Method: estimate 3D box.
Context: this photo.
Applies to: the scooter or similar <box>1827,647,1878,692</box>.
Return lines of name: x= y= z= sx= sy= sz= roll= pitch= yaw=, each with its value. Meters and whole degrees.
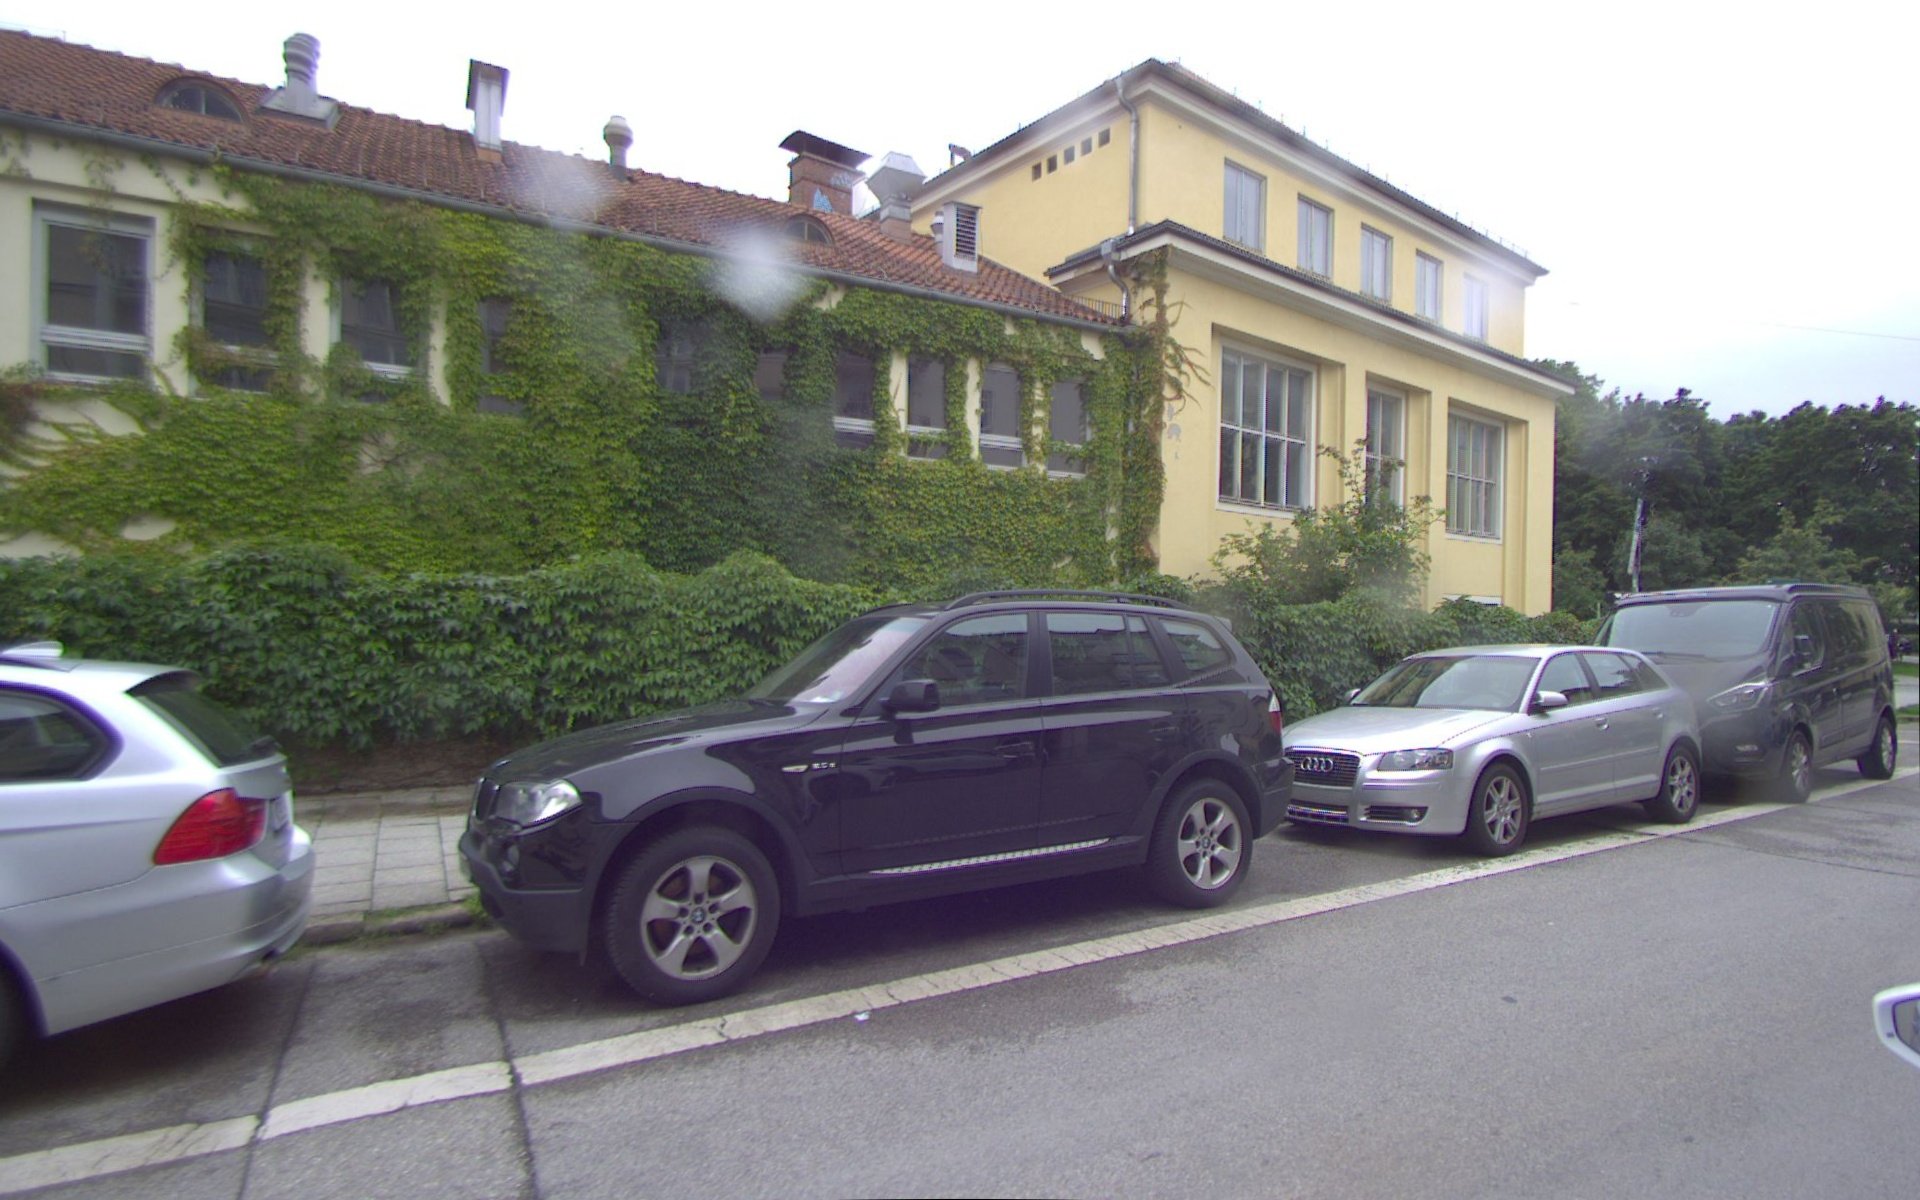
scooter or similar: x=24.673 y=1.929 z=27.776 sx=1.097 sy=1.204 sz=0.345 roll=1 pitch=0 yaw=0

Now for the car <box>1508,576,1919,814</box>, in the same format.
car: x=8.281 y=0.912 z=10.815 sx=5.296 sy=1.989 sz=2.060 roll=2 pitch=-3 yaw=-35

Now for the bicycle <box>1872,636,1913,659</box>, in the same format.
bicycle: x=53.238 y=2.708 z=57.390 sx=0.730 sy=1.231 sz=2.146 roll=1 pitch=-1 yaw=13

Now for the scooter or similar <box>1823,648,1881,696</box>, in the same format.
scooter or similar: x=24.139 y=1.932 z=27.187 sx=0.341 sy=1.204 sz=1.111 roll=1 pitch=0 yaw=-27

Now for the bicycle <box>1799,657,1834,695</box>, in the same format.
bicycle: x=23.402 y=2.064 z=27.464 sx=0.534 sy=0.987 sz=1.152 roll=1 pitch=-1 yaw=31

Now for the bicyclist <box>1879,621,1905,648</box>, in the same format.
bicyclist: x=53.242 y=1.977 z=57.380 sx=0.730 sy=1.541 sz=0.946 roll=1 pitch=-1 yaw=13

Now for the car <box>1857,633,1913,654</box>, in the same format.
car: x=67.384 y=3.144 z=73.208 sx=1.963 sy=1.390 sz=3.995 roll=1 pitch=-1 yaw=27

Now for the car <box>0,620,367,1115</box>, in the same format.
car: x=-4.511 y=0.788 z=2.915 sx=4.713 sy=1.432 sz=1.646 roll=1 pitch=-4 yaw=-29

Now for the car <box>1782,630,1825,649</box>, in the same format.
car: x=76.234 y=3.551 z=90.818 sx=1.962 sy=1.627 sz=3.997 roll=1 pitch=-1 yaw=25

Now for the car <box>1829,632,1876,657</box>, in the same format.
car: x=59.083 y=2.913 z=66.582 sx=1.889 sy=1.490 sz=3.986 roll=1 pitch=0 yaw=36

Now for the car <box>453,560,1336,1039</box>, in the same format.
car: x=-0.180 y=0.797 z=5.392 sx=4.438 sy=1.664 sz=1.689 roll=2 pitch=-4 yaw=-31

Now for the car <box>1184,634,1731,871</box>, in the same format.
car: x=4.018 y=1.024 z=7.910 sx=4.449 sy=1.411 sz=1.687 roll=1 pitch=-5 yaw=-31

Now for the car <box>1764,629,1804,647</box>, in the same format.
car: x=78.636 y=3.631 z=95.918 sx=1.962 sy=1.627 sz=3.997 roll=1 pitch=-1 yaw=25
